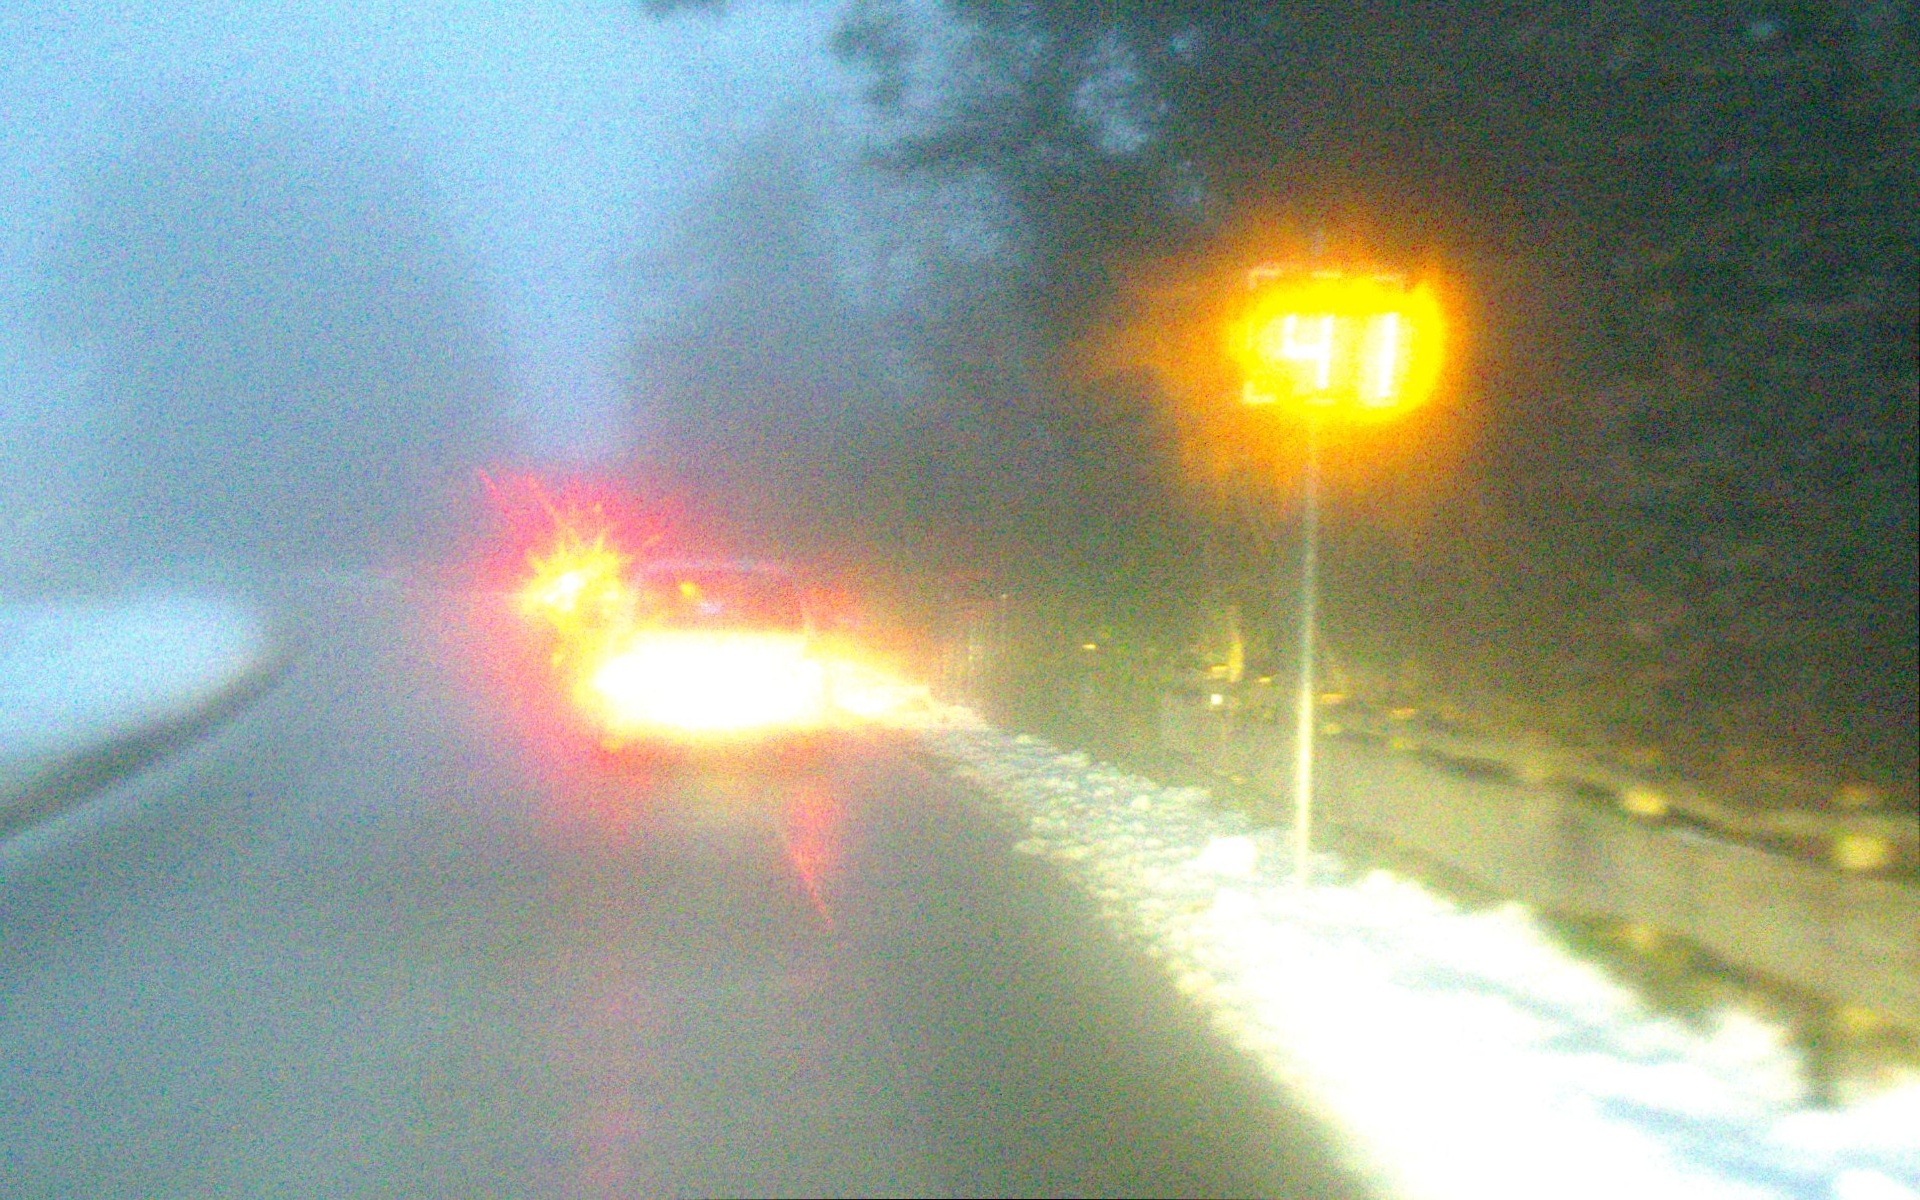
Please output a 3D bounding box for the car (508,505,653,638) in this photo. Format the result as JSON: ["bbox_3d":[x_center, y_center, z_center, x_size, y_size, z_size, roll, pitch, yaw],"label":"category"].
[{"bbox_3d":[-4.550,-0.352,40.963,1.478,1.503,3.054,1,1,-10],"label":"car"}]

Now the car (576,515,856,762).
[{"bbox_3d":[-1.791,0.285,25.098,1.707,1.458,4.000,7,-1,-4],"label":"car"}]
